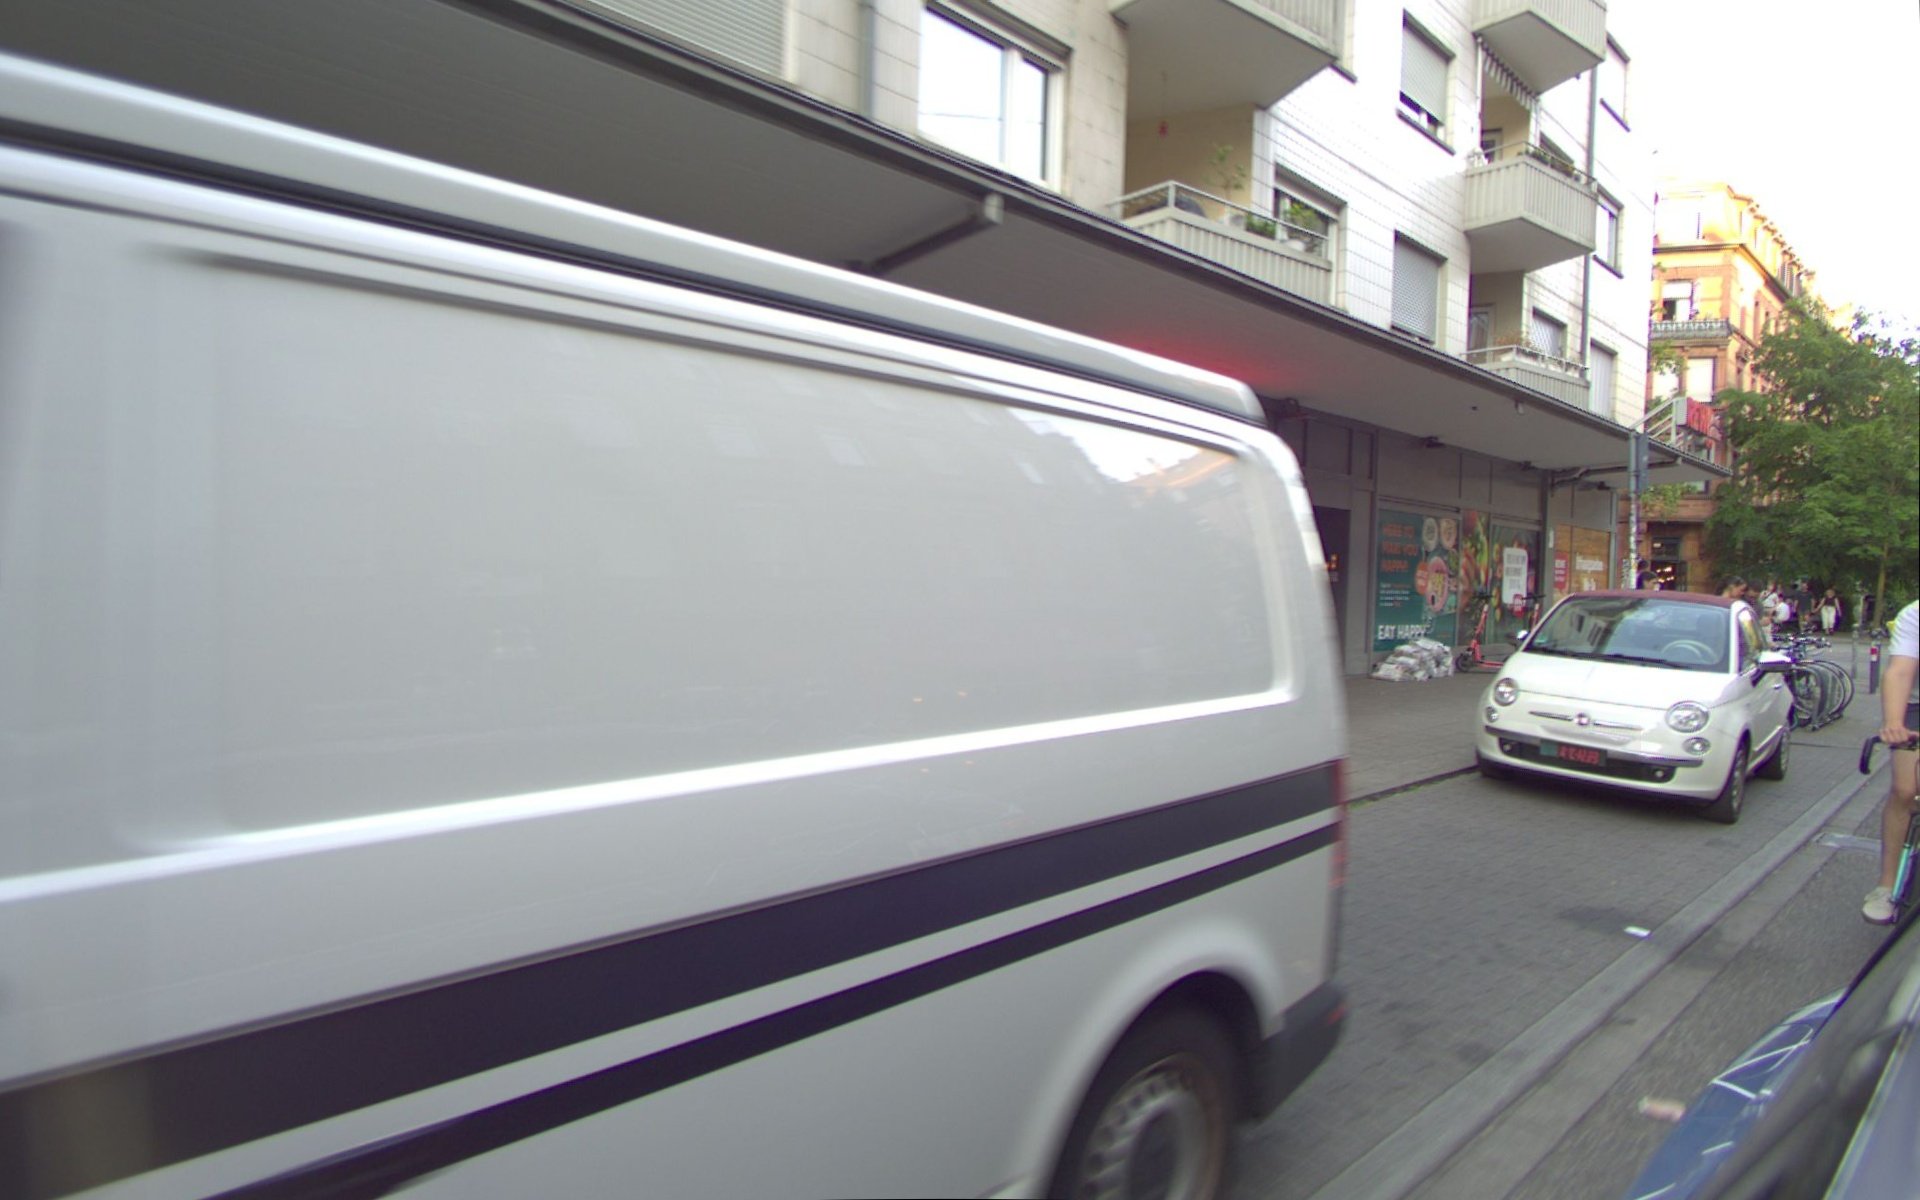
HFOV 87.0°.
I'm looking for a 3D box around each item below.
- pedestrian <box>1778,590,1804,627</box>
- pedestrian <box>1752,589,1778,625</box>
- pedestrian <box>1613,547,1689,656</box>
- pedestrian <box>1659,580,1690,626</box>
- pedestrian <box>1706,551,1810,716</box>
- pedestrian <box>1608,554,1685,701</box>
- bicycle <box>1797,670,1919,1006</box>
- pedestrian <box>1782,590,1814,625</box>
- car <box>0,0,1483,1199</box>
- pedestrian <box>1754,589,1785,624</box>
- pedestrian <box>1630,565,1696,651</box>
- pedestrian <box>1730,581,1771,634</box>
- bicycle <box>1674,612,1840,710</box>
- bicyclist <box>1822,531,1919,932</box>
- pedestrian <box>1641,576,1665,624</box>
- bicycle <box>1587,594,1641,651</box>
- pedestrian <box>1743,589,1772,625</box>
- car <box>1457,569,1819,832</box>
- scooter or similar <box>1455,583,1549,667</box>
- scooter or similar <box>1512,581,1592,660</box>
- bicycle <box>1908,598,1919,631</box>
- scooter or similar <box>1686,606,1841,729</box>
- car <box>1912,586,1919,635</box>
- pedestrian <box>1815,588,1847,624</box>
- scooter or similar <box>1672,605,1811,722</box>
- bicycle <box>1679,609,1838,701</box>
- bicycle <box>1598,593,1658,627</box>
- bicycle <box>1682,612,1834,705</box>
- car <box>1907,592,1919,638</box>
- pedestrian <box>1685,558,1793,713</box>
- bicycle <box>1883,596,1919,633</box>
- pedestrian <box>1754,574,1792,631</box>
[{"bbox_3d":[30.399,0.301,37.016,0.636,1.288,0.667,1,2,34],"label":"pedestrian"},{"bbox_3d":[30.096,0.260,37.834,0.670,1.288,0.633,1,2,33],"label":"pedestrian"},{"bbox_3d":[12.858,0.019,18.831,1.169,1.934,0.762,0,4,-41],"label":"pedestrian"},{"bbox_3d":[26.238,0.088,37.159,0.628,1.657,0.676,0,1,-5],"label":"pedestrian"},{"bbox_3d":[9.033,0.355,11.460,0.724,1.777,0.663,1,3,-36],"label":"pedestrian"},{"bbox_3d":[8.098,0.305,11.932,0.560,1.651,0.716,5,3,42],"label":"pedestrian"},{"bbox_3d":[4.088,0.890,4.144,1.884,1.031,0.658,-1,2,-39],"label":"bicycle"},{"bbox_3d":[31.389,0.279,37.911,0.662,1.288,0.641,0,1,-3],"label":"pedestrian"},{"bbox_3d":[-1.220,0.338,1.681,4.915,1.997,1.963,0,3,-41],"label":"car"},{"bbox_3d":[30.708,0.251,38.393,0.627,1.288,0.676,0,2,-15],"label":"pedestrian"},{"bbox_3d":[14.267,0.167,20.548,0.865,1.671,0.665,2,3,-28],"label":"pedestrian"},{"bbox_3d":[25.184,0.234,32.253,0.850,1.627,0.540,3,1,-15],"label":"pedestrian"},{"bbox_3d":[9.814,0.720,12.520,0.501,1.014,1.485,0,4,-34],"label":"bicycle"},{"bbox_3d":[4.039,0.492,4.104,0.936,1.527,0.650,-1,2,-39],"label":"bicyclist"},{"bbox_3d":[25.928,-0.002,37.853,0.672,1.767,0.631,1,2,40],"label":"pedestrian"},{"bbox_3d":[12.791,0.417,19.770,1.753,1.037,0.457,-1,2,-43],"label":"bicycle"},{"bbox_3d":[29.555,0.258,37.522,0.667,1.288,0.636,1,2,21],"label":"pedestrian"},{"bbox_3d":[5.386,0.588,7.890,3.367,1.519,1.594,0,4,-44],"label":"car"},{"bbox_3d":[8.147,0.375,15.217,1.139,1.218,0.538,2,1,-15],"label":"scooter or similar"},{"bbox_3d":[9.870,0.319,16.857,1.593,1.233,0.480,-1,3,-34],"label":"scooter or similar"},{"bbox_3d":[34.413,0.562,35.628,0.658,1.179,2.102,4,3,21],"label":"bicycle"},{"bbox_3d":[8.520,0.702,10.757,1.141,1.185,0.537,4,1,-2],"label":"scooter or similar"},{"bbox_3d":[44.030,0.516,42.730,5.090,2.123,2.101,1,2,24],"label":"car"},{"bbox_3d":[33.054,0.229,38.421,0.715,1.321,0.743,2,1,29],"label":"pedestrian"},{"bbox_3d":[8.868,0.694,11.505,1.160,1.185,0.529,5,1,42],"label":"scooter or similar"},{"bbox_3d":[10.520,0.697,13.373,0.502,1.013,1.549,-1,5,-44],"label":"bicycle"},{"bbox_3d":[23.916,0.362,36.246,1.845,1.169,0.714,0,2,-15],"label":"bicycle"},{"bbox_3d":[10.120,0.713,12.866,0.502,0.995,1.419,-1,5,-44],"label":"bicycle"},{"bbox_3d":[37.890,0.613,37.248,3.947,1.688,1.818,1,2,18],"label":"car"},{"bbox_3d":[8.516,0.367,11.085,0.637,1.619,0.591,3,2,9],"label":"pedestrian"},{"bbox_3d":[33.754,0.514,35.924,0.658,1.179,2.102,4,3,21],"label":"bicycle"},{"bbox_3d":[27.391,0.066,34.108,0.892,1.891,0.676,-1,2,-27],"label":"pedestrian"}]
